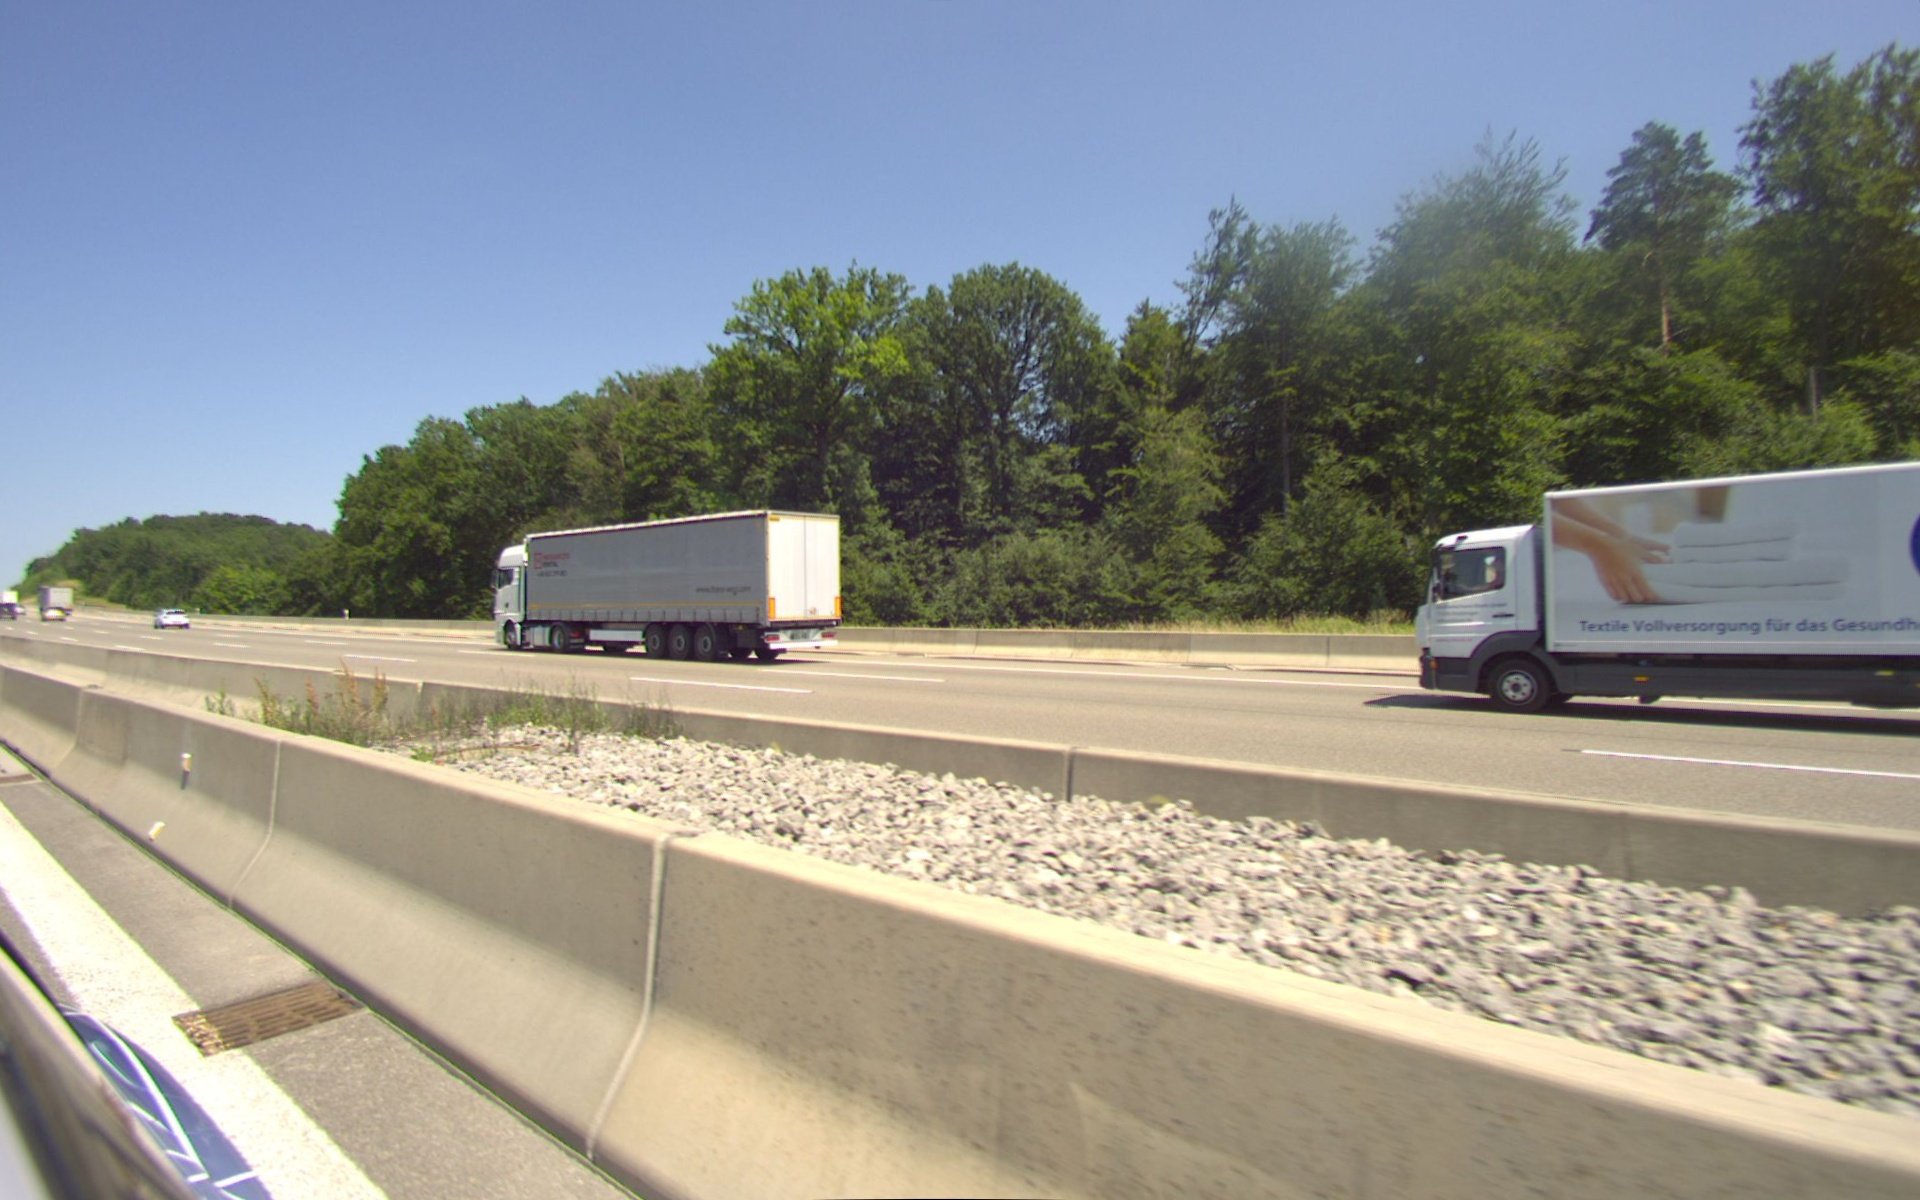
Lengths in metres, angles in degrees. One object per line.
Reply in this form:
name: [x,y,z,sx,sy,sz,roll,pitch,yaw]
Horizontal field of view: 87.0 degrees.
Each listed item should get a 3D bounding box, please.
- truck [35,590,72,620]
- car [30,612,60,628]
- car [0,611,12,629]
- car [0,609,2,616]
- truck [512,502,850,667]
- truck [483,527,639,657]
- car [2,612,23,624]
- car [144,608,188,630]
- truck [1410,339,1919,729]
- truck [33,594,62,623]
truck: [-127.400,0.666,142.086,14.299,4.056,2.661,0,0,43]
car: [-95.326,2.053,105.419,4.813,1.546,1.852,0,0,43]
car: [-106.532,2.219,112.115,5.774,1.954,1.852,0,0,43]
car: [-177.187,2.284,185.684,4.729,1.311,1.812,0,0,43]
truck: [-9.341,-0.319,31.553,14.503,4.209,2.728,-1,-1,42]
truck: [-14.255,-0.224,35.940,6.229,4.209,2.654,-1,-1,42]
car: [-133.254,2.515,142.295,4.135,1.546,1.852,0,0,42]
car: [-60.154,1.422,76.655,4.813,1.491,1.852,0,1,43]
truck: [10.841,-0.709,12.161,9.617,4.209,2.504,-1,-1,42]
truck: [-131.741,1.212,146.047,5.510,4.056,2.629,-1,0,43]
